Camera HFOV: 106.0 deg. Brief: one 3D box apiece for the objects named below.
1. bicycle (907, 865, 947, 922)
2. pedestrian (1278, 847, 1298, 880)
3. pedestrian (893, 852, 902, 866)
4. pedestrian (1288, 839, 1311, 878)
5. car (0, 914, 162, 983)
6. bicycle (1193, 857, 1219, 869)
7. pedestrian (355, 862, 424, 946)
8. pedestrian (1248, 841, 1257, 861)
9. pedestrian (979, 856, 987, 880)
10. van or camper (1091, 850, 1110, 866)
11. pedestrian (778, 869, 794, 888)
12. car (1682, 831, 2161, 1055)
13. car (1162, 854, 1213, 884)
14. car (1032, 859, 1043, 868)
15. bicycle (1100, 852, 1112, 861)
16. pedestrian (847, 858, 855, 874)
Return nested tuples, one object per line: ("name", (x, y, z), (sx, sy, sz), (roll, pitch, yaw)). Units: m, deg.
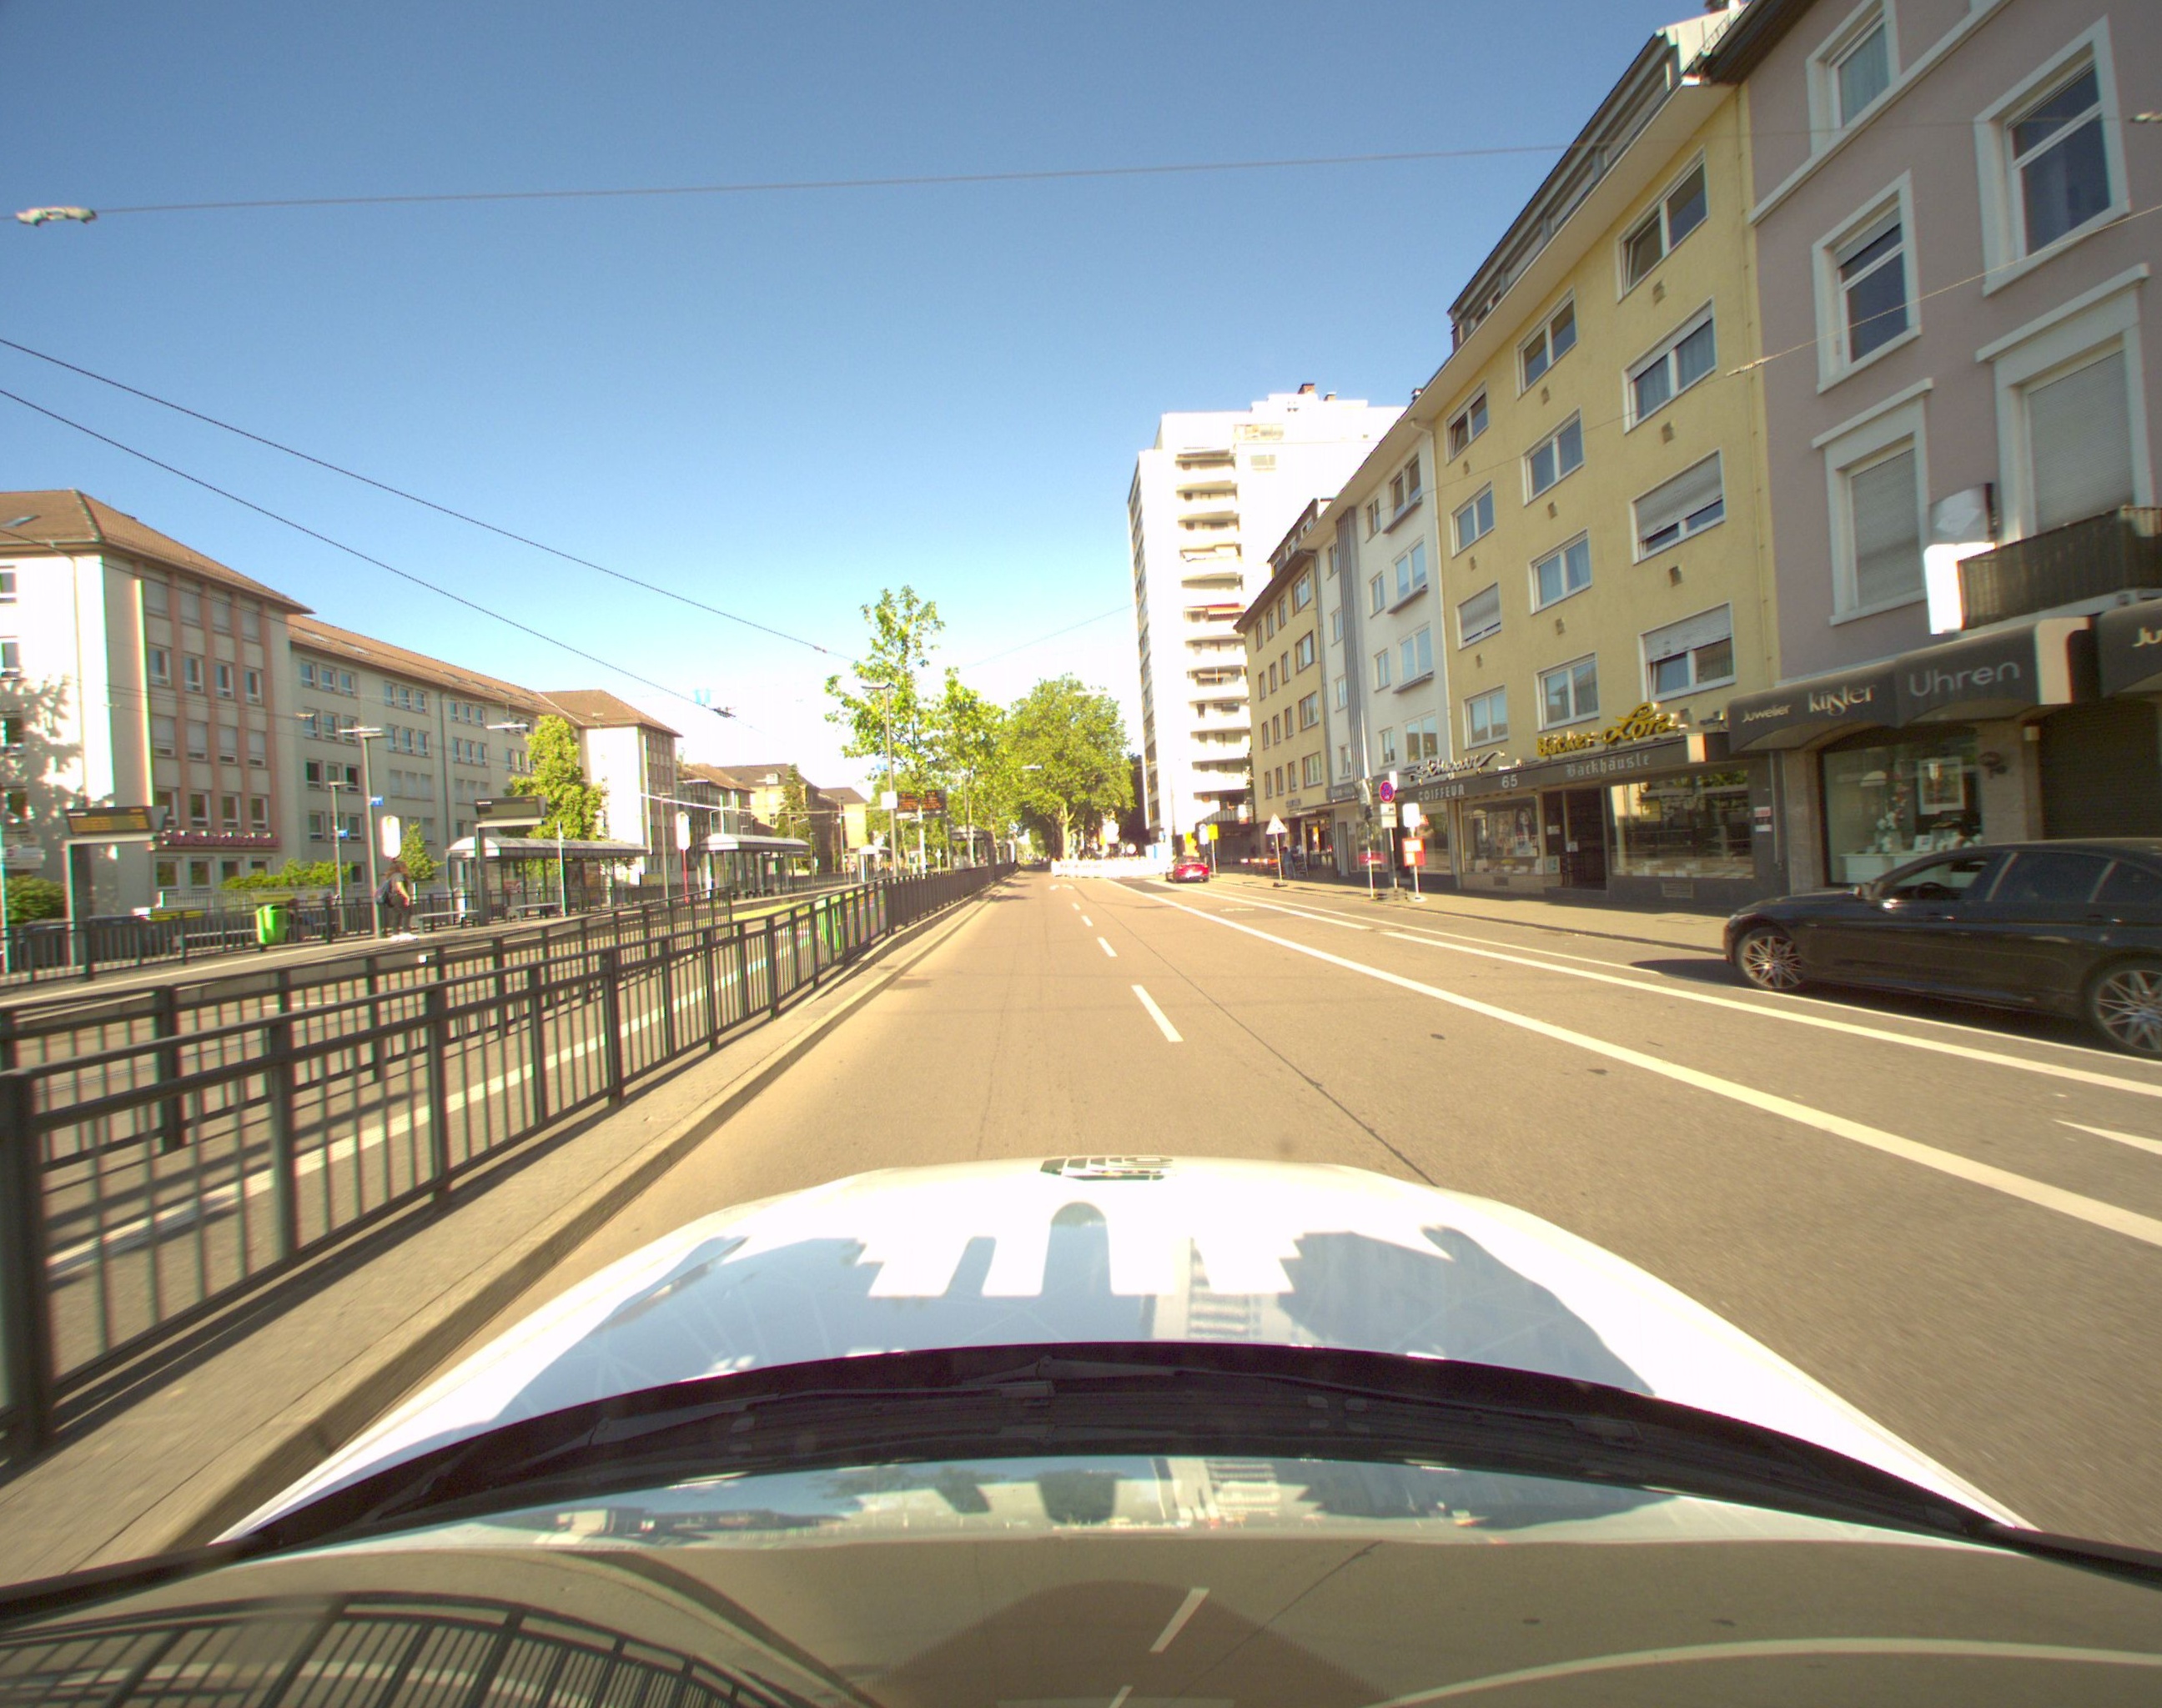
("bicycle", (-4.019, 1.001, 21.352), (0.638, 1.379, 2.167), (-3, 0, -2))
("pedestrian", (9.631, 0.450, 37.961), (0.669, 1.506, 0.651), (-3, 0, -3))
("pedestrian", (-24.191, 0.670, 107.207), (0.950, 1.736, 0.730), (-3, 0, -1))
("pedestrian", (10.658, 0.211, 39.689), (0.727, 1.854, 0.899), (-3, 0, -4))
("car", (-27.082, 2.462, 21.199), (1.793, 1.420, 3.997), (-3, 0, -2))
("bicycle", (10.653, 0.759, 69.560), (2.012, 0.943, 1.022), (-3, 0, 16))
("pedestrian", (-13.758, 0.975, 16.226), (0.683, 1.592, 0.734), (-3, 0, -3))
("pedestrian", (15.886, -0.243, 75.506), (0.653, 1.854, 0.678), (0, -1, -1))
("pedestrian", (-8.506, 1.200, 70.659), (0.667, 2.013, 0.715), (-2, 0, -6))
("van or camper", (2.935, 0.582, 122.796), (2.286, 2.286, 5.815), (-3, 0, -3))
("pedestrian", (-23.472, 1.946, 64.804), (0.973, 1.376, 0.878), (-3, 0, -4))
("car", (7.714, 0.560, 6.637), (1.896, 1.429, 4.709), (-1, 0, -5))
("car", (5.683, 0.787, 44.104), (1.867, 1.443, 5.154), (-3, 0, -2))
("car", (-8.653, 1.827, 162.069), (2.017, 1.662, 3.995), (-3, 0, -3))
("bicycle", (3.688, 0.319, 118.996), (1.603, 1.263, 0.960), (-3, 0, -8))
("pedestrian", (-29.354, 1.532, 103.962), (0.661, 2.013, 0.859), (-3, 0, -4))
